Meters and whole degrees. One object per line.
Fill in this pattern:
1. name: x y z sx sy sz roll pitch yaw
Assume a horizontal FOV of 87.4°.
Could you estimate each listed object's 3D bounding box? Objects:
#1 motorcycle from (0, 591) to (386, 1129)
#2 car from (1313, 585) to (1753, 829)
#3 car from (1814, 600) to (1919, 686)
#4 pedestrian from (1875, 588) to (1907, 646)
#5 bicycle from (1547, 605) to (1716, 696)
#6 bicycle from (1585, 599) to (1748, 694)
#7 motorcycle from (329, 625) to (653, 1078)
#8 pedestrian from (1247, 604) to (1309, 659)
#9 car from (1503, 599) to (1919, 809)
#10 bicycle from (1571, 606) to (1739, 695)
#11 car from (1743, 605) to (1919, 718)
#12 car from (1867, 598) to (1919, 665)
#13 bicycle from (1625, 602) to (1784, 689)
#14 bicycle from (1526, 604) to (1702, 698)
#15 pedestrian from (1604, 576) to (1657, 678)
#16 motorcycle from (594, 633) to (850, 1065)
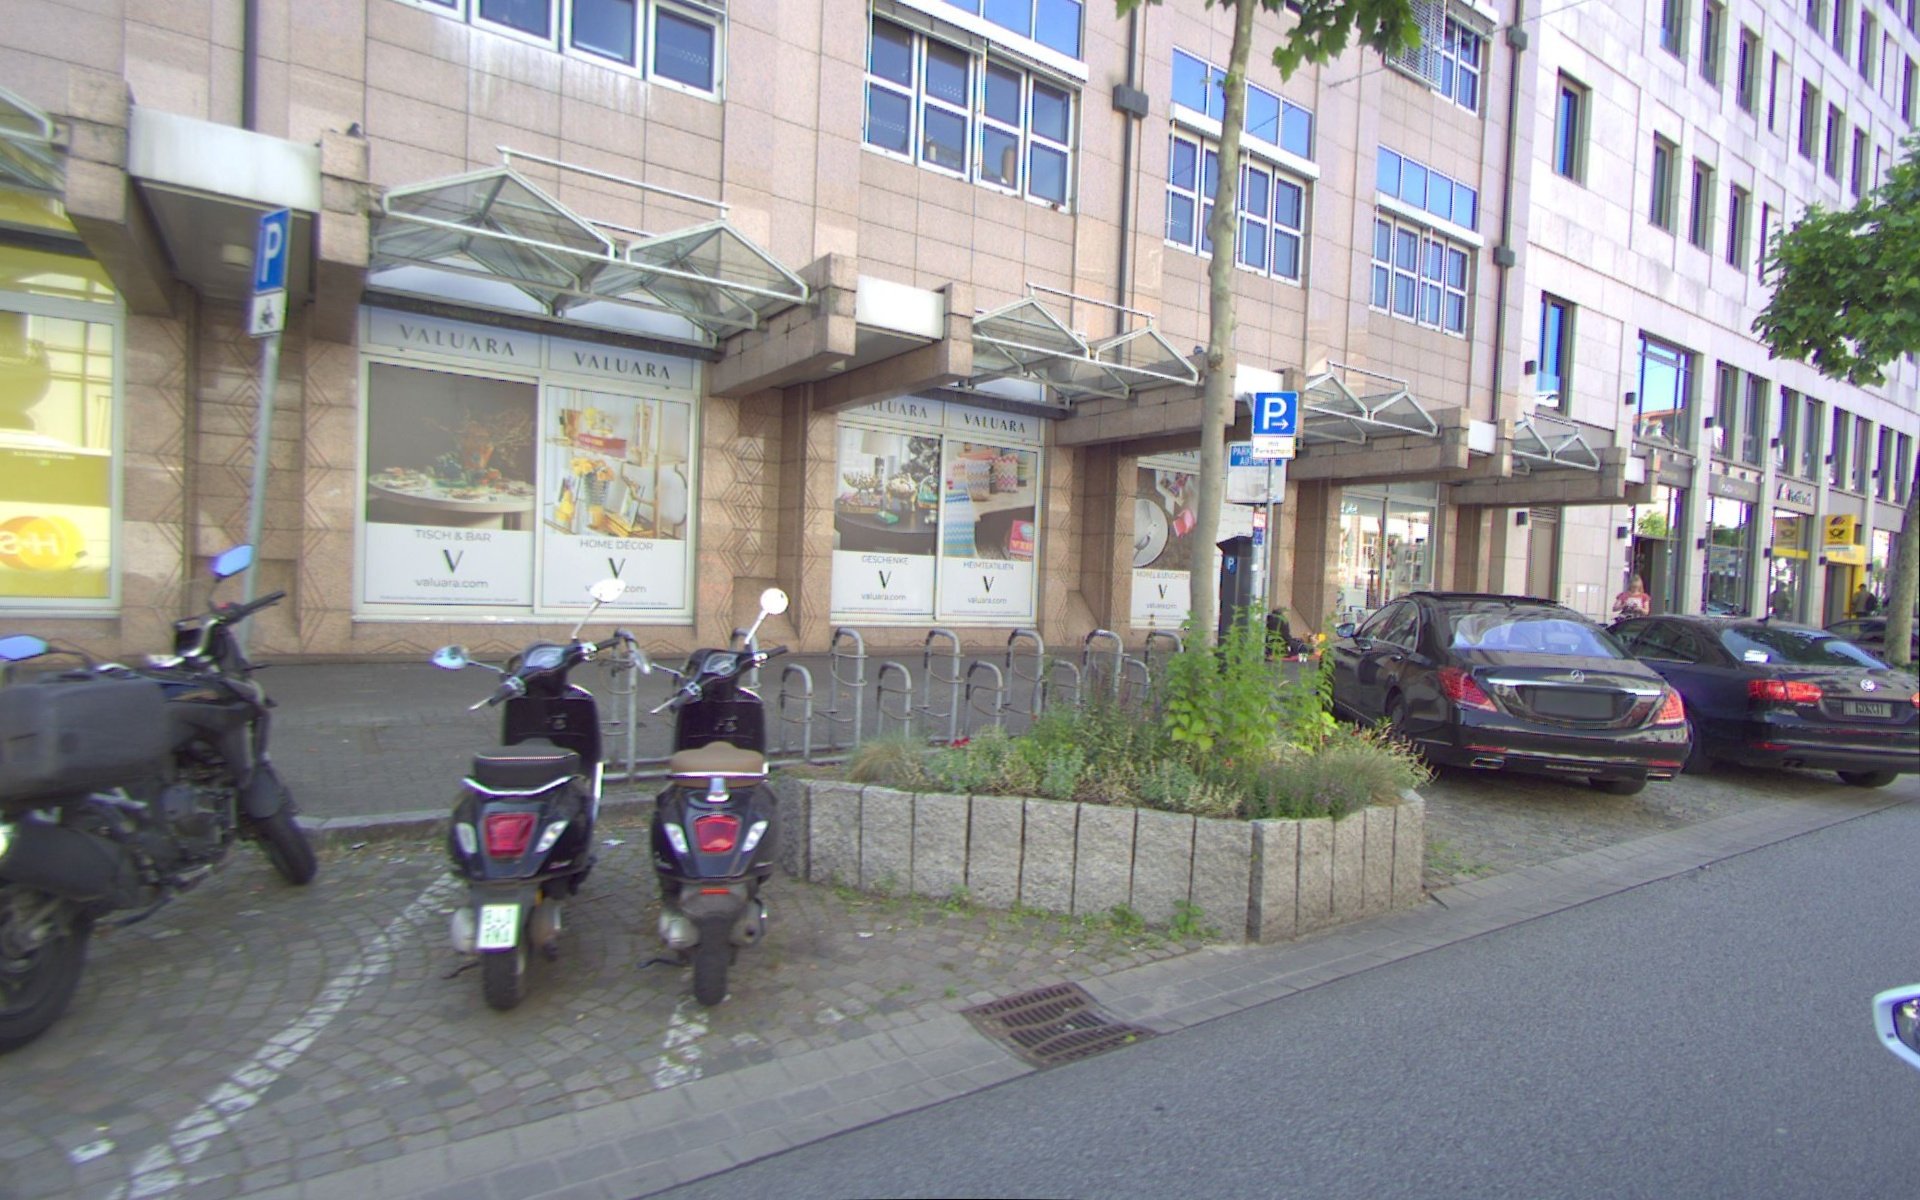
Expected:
1. motorcycle: -3.164 0.662 3.595 1.271 1.285 2.346 2 2 -13
2. car: 4.834 0.705 9.449 1.950 1.554 4.759 3 2 9
3. car: 19.403 0.934 19.425 1.798 1.534 4.352 3 3 -3
4. pedestrian: 32.782 0.594 35.356 0.693 2.041 0.620 1 1 -33
5. bicycle: 10.298 0.739 15.492 0.460 1.145 2.047 1 4 -40
6. bicycle: 11.445 0.725 16.345 0.364 1.306 2.047 1 4 -40
7. motorcycle: -1.655 0.757 3.886 0.716 1.185 1.911 2 2 -13
8. pedestrian: 5.284 0.514 16.683 0.766 0.820 0.562 1 6 -34
9. car: 7.667 0.843 10.423 1.845 1.442 4.798 3 3 7
10. bicycle: 10.934 0.762 15.879 0.460 1.145 2.047 1 4 -40
11. car: 15.218 0.951 16.328 1.868 1.427 4.653 3 3 10
12. car: 24.293 0.932 23.674 1.701 1.520 3.957 1 6 -37
13. bicycle: 12.651 0.733 17.123 2.041 1.236 0.756 6 4 41
14. bicycle: 9.708 0.723 15.009 0.611 1.145 2.053 2 4 -32
15. pedestrian: 11.306 0.441 16.928 0.632 1.679 0.560 1 2 -43
16. motorcycle: -0.939 0.800 4.062 0.747 1.185 1.911 2 2 -13
